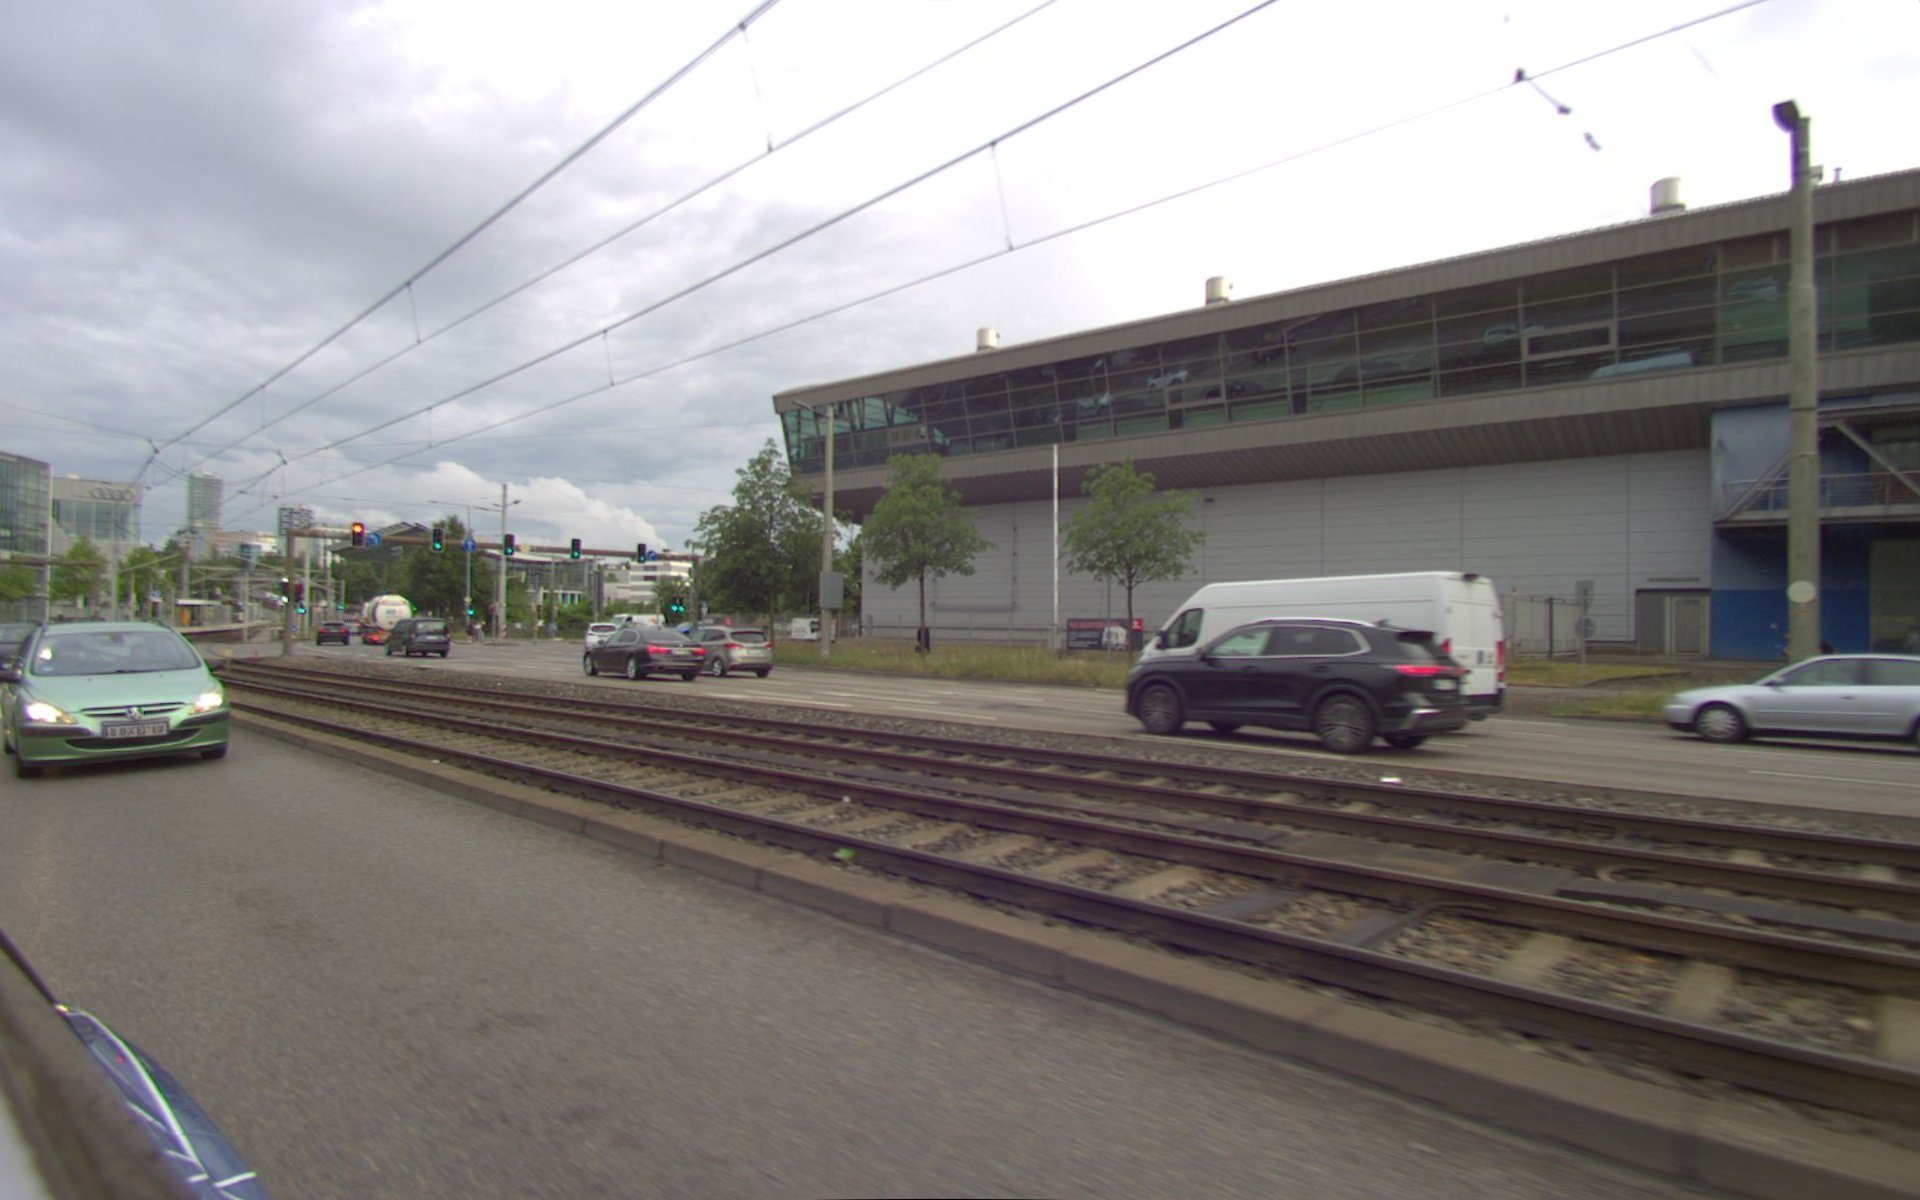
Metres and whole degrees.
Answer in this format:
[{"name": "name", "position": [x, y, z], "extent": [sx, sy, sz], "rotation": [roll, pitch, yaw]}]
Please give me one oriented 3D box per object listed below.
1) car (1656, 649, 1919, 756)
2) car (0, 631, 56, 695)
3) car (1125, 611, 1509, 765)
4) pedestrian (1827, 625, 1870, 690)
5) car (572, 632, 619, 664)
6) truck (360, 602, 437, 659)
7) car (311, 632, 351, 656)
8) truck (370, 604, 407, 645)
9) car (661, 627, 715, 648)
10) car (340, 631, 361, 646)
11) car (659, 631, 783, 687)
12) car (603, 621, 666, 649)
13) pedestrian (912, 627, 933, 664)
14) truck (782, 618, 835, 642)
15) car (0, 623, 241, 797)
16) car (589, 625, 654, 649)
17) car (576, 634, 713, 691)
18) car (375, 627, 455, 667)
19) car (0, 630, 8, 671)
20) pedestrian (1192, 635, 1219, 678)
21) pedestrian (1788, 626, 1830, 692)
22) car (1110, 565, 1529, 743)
[{"name": "car", "position": [12.775, 1.447, 14.767], "extent": [1.726, 1.410, 4.005], "rotation": [4, -5, -41]}, {"name": "car", "position": [-25.354, 1.646, 26.936], "extent": [1.737, 1.556, 3.716], "rotation": [-1, 0, -45]}, {"name": "car", "position": [4.488, 1.068, 13.232], "extent": [1.886, 1.669, 4.364], "rotation": [5, -5, -43]}, {"name": "pedestrian", "position": [20.364, 1.309, 23.204], "extent": [0.651, 1.467, 0.447], "rotation": [-2, 0, 33]}, {"name": "car", "position": [-21.474, 2.819, 59.515], "extent": [1.785, 1.839, 3.882], "rotation": [2, -3, -32]}, {"name": "truck", "position": [-40.175, 2.223, 72.140], "extent": [4.024, 3.785, 10.882], "rotation": [2, -3, -33]}, {"name": "car", "position": [-43.096, 2.982, 69.283], "extent": [1.793, 1.586, 4.007], "rotation": [2, -3, -39]}, {"name": "truck", "position": [-64.880, 2.863, 115.068], "extent": [3.213, 4.564, 7.114], "rotation": [1, -3, -26]}, {"name": "car", "position": [-22.945, 3.218, 85.506], "extent": [1.909, 1.729, 4.202], "rotation": [-2, -3, 36]}, {"name": "car", "position": [-68.731, 4.347, 114.205], "extent": [1.786, 1.586, 4.012], "rotation": [1, -3, -28]}, {"name": "car", "position": [-7.853, 1.879, 32.950], "extent": [1.917, 1.684, 4.512], "rotation": [3, -4, -43]}, {"name": "car", "position": [-27.739, 3.020, 86.310], "extent": [1.994, 2.350, 5.007], "rotation": [-1, -3, 33]}, {"name": "pedestrian", "position": [-1.640, 1.964, 44.233], "extent": [0.627, 1.575, 0.674], "rotation": [-2, 0, 44]}, {"name": "truck", "position": [-12.629, 2.512, 84.485], "extent": [3.966, 2.029, 1.988], "rotation": [-1, -3, 17]}, {"name": "car", "position": [-9.480, 1.043, 11.173], "extent": [4.138, 1.509, 1.738], "rotation": [-2, 0, 44]}, {"name": "car", "position": [-26.687, 2.963, 79.896], "extent": [1.997, 1.849, 4.605], "rotation": [-2, -3, 37]}, {"name": "car", "position": [-9.216, 1.749, 29.256], "extent": [1.923, 1.496, 5.001], "rotation": [2, -3, -41]}, {"name": "car", "position": [-25.258, 2.156, 46.806], "extent": [4.680, 1.745, 1.971], "rotation": [-2, -4, 45]}, {"name": "car", "position": [-38.636, 1.981, 39.379], "extent": [3.708, 1.556, 1.741], "rotation": [-2, 0, 37]}, {"name": "pedestrian", "position": [8.934, 2.035, 36.832], "extent": [0.542, 1.509, 0.759], "rotation": [-1, 0, -44]}, {"name": "pedestrian", "position": [19.435, 1.334, 23.175], "extent": [0.651, 1.467, 0.506], "rotation": [-2, 0, 33]}, {"name": "car", "position": [5.916, 0.914, 17.659], "extent": [2.402, 2.519, 6.557], "rotation": [4, -4, -40]}]
